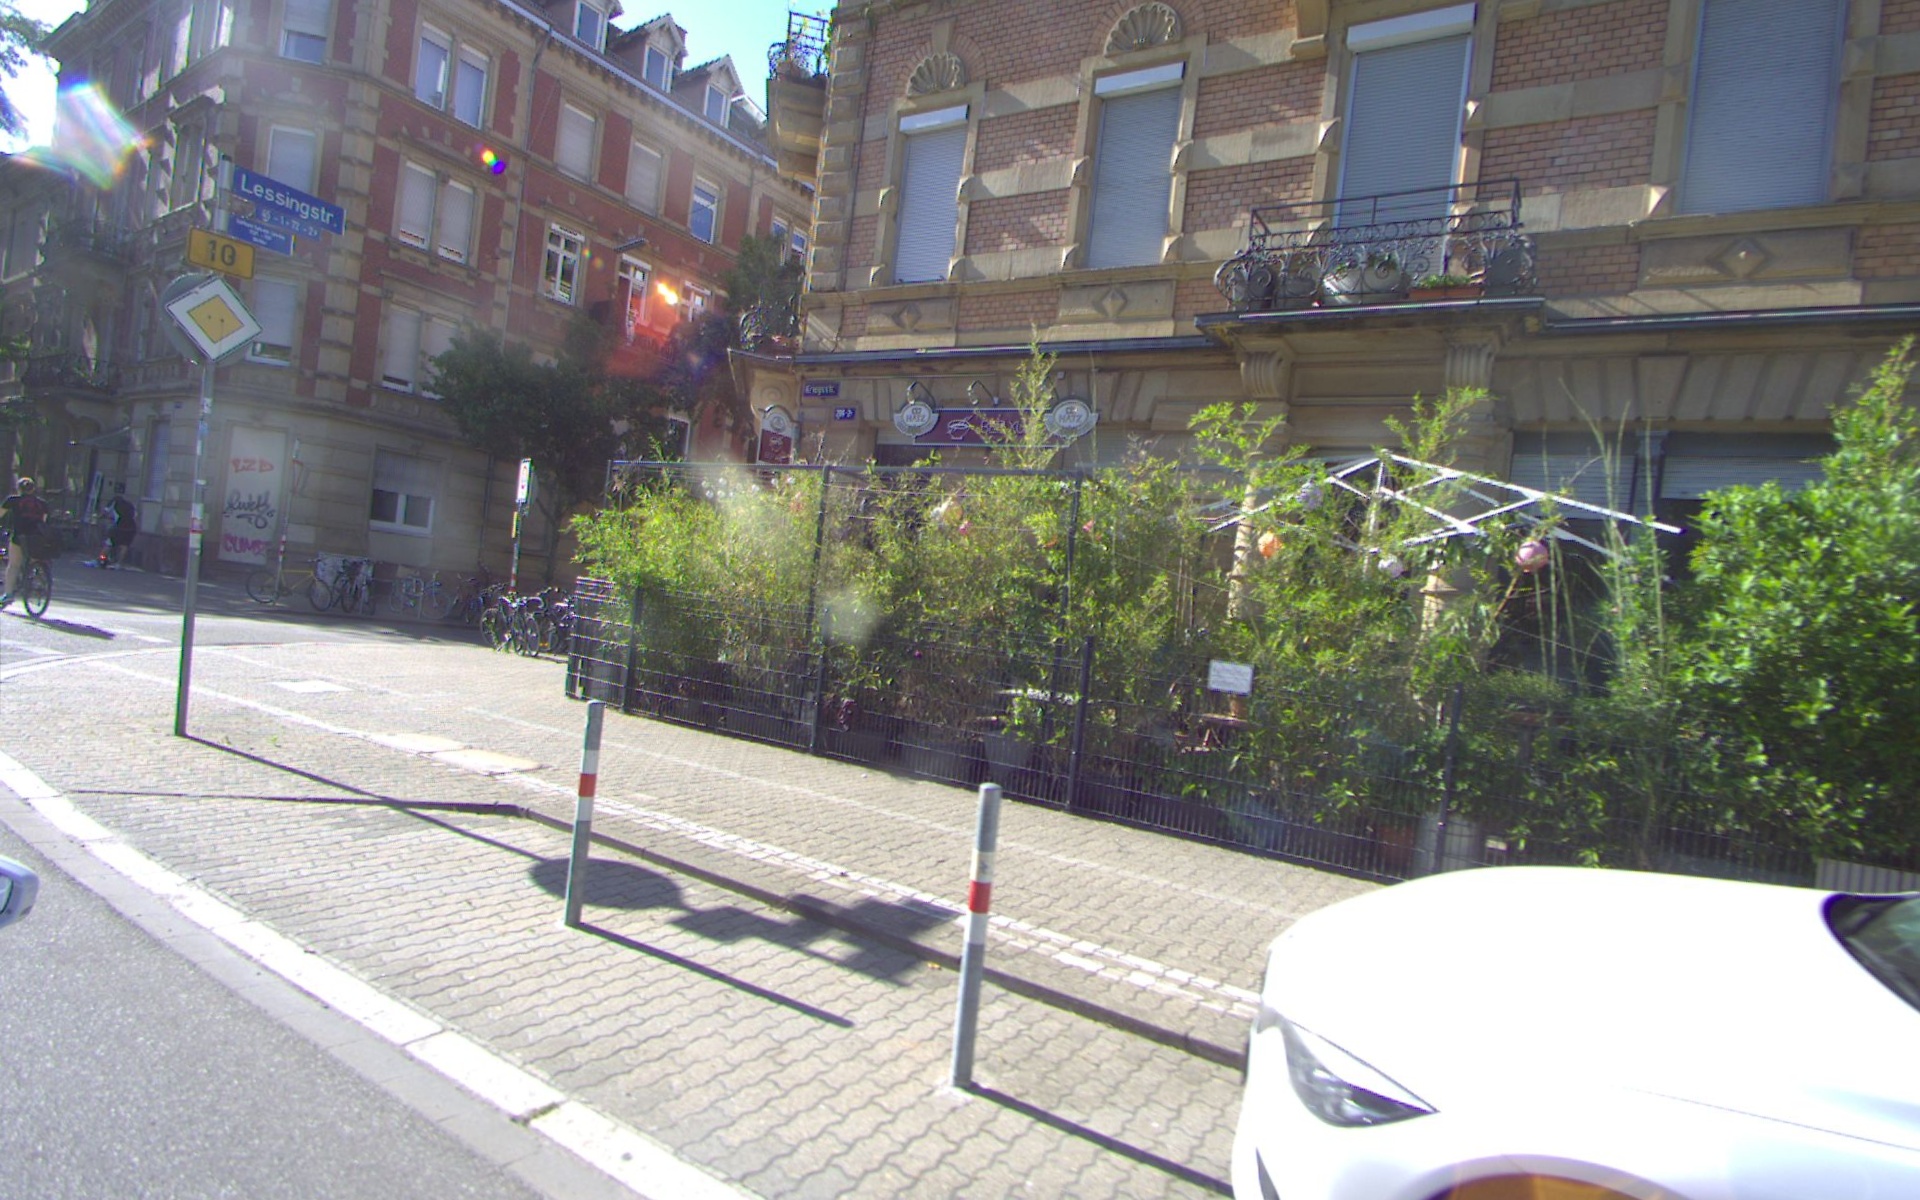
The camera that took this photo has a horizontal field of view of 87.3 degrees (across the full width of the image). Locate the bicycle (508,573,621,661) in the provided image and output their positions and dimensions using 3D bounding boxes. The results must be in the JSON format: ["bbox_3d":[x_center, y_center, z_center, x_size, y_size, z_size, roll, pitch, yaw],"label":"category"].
[{"bbox_3d":[-6.737,0.274,17.076,2.034,1.250,0.579,7,0,32],"label":"bicycle"}]

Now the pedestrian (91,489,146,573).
[{"bbox_3d":[-19.353,-1.579,23.140,0.740,1.836,0.656,3,-3,36],"label":"pedestrian"}]

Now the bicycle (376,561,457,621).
[{"bbox_3d":[-12.381,-0.215,22.902,2.001,1.145,0.727,6,0,35],"label":"bicycle"}]

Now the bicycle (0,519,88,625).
[{"bbox_3d":[-12.330,-0.393,13.212,1.928,1.235,0.741,7,2,32],"label":"bicycle"}]

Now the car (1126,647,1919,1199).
[{"bbox_3d":[2.588,1.069,1.787,4.135,1.443,1.711,7,1,31],"label":"car"}]

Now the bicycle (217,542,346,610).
[{"bbox_3d":[-13.679,-0.469,20.324,1.940,1.108,0.693,7,0,-13],"label":"bicycle"}]

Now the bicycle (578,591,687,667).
[{"bbox_3d":[-5.846,0.500,17.925,2.034,1.108,0.579,7,0,32],"label":"bicycle"}]

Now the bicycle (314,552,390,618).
[{"bbox_3d":[-13.071,-0.334,21.602,1.940,1.108,0.579,10,1,37],"label":"bicycle"}]

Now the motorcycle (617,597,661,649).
[{"bbox_3d":[-8.902,0.648,27.922,0.985,1.299,2.407,6,-3,-17],"label":"motorcycle"}]

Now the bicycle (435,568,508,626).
[{"bbox_3d":[-11.649,-0.085,23.959,2.001,1.145,0.560,6,0,35],"label":"bicycle"}]

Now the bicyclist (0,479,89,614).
[{"bbox_3d":[-12.120,-0.712,13.101,1.082,1.599,0.743,8,0,32],"label":"bicyclist"}]

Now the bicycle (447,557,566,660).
[{"bbox_3d":[-7.295,0.116,16.143,2.034,1.414,0.579,7,0,32],"label":"bicycle"}]

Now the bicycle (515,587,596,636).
[{"bbox_3d":[-10.167,0.308,25.333,0.552,1.002,1.836,12,1,29],"label":"bicycle"}]
